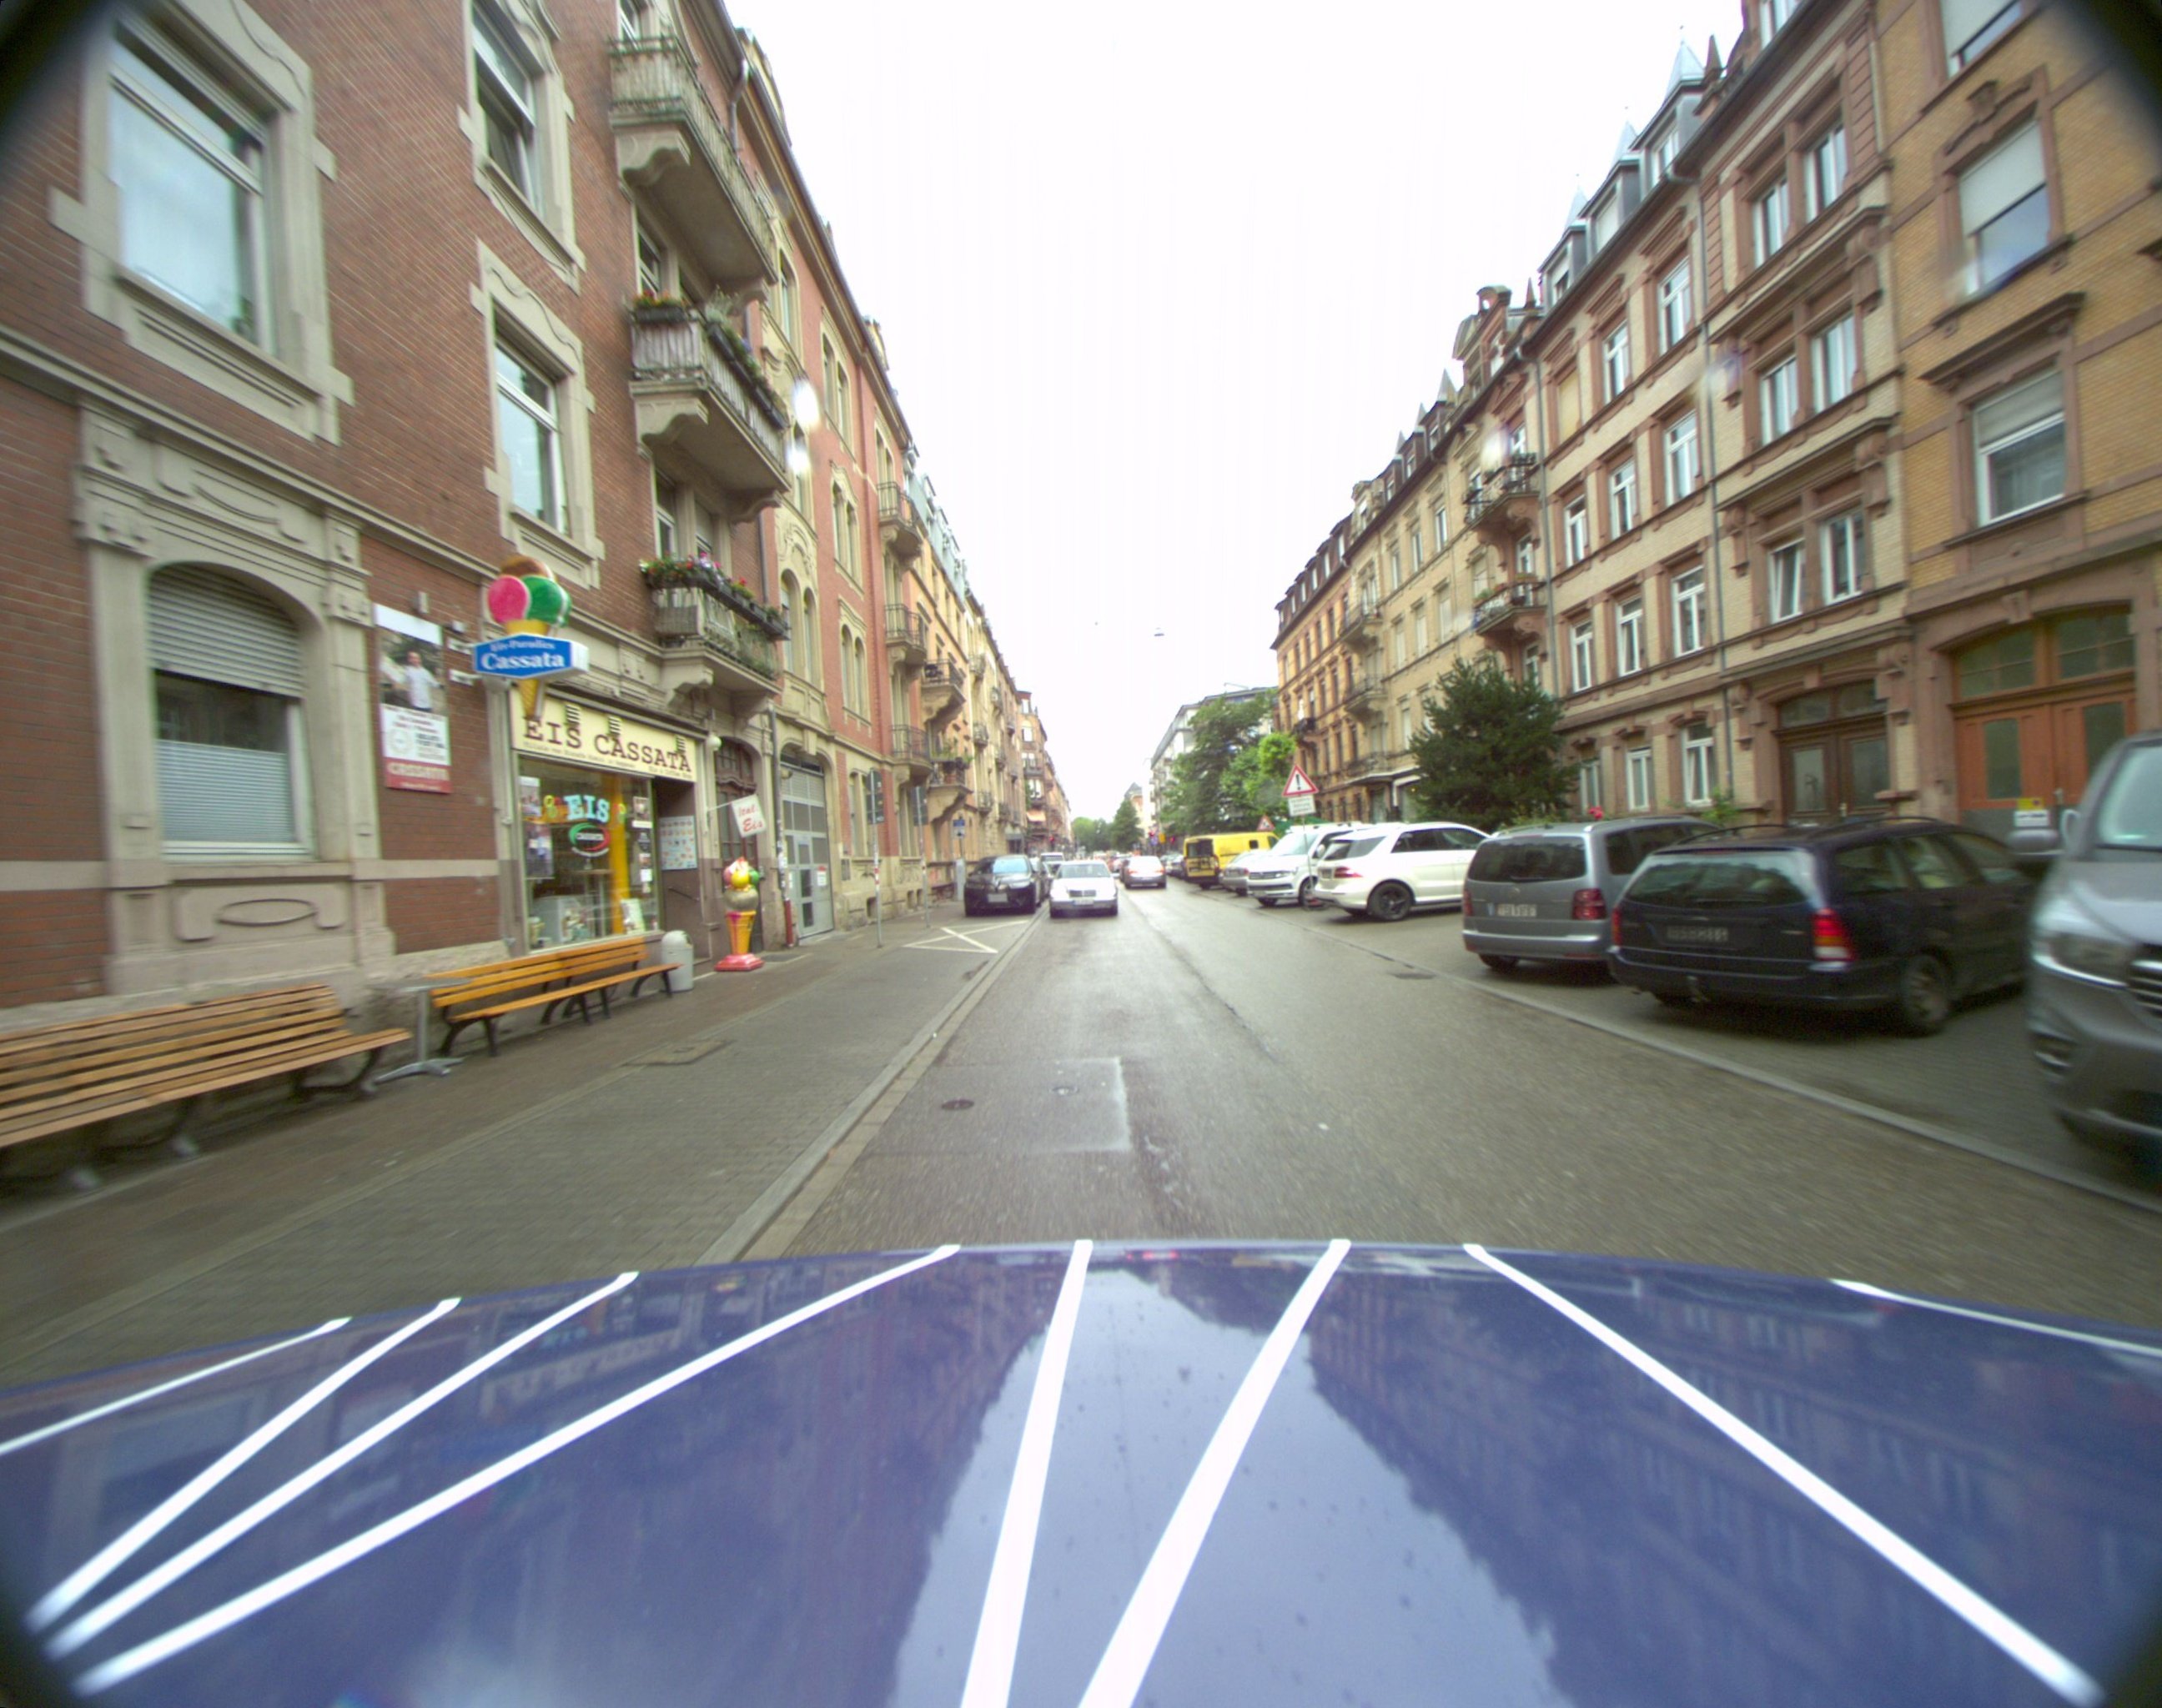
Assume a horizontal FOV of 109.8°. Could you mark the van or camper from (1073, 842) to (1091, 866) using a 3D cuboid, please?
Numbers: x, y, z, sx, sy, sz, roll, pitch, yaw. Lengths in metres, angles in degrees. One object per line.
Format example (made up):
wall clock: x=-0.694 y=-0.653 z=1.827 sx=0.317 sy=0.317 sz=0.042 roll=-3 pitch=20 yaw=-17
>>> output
van or camper: x=0.111 y=-0.010 z=114.930 sx=2.411 sy=3.308 sz=7.073 roll=-4 pitch=0 yaw=0

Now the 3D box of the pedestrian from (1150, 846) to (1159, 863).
pedestrian: x=8.492 y=0.064 z=87.902 sx=0.862 sy=1.837 sz=0.770 roll=-4 pitch=0 yaw=9

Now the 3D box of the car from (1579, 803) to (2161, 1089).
car: x=6.531 y=0.546 z=6.284 sx=4.360 sy=1.496 sz=1.752 roll=-5 pitch=0 yaw=-21

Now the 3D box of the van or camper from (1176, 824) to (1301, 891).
van or camper: x=6.599 y=0.130 z=31.729 sx=4.733 sy=2.254 sz=2.180 roll=-6 pitch=0 yaw=-31

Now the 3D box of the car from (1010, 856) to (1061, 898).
car: x=-1.923 y=0.962 z=33.368 sx=1.791 sy=1.458 sz=4.482 roll=-3 pitch=2 yaw=2

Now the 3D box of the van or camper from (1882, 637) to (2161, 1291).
van or camper: x=6.320 y=0.239 z=3.311 sx=5.031 sy=2.335 sz=2.340 roll=-4 pitch=0 yaw=-25

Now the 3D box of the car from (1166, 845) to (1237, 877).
car: x=7.420 y=0.408 z=46.644 sx=4.143 sy=1.485 sz=1.797 roll=-7 pitch=3 yaw=-34

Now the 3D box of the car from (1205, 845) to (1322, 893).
car: x=6.895 y=0.552 z=28.681 sx=3.924 sy=1.486 sz=1.959 roll=-4 pitch=1 yaw=-30

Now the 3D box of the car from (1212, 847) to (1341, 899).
car: x=6.660 y=0.608 z=25.785 sx=4.005 sy=1.427 sz=1.781 roll=-4 pitch=1 yaw=-28

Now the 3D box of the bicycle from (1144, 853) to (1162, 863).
bicycle: x=8.296 y=0.473 z=87.824 sx=1.895 sy=1.028 sz=0.661 roll=-6 pitch=0 yaw=-13

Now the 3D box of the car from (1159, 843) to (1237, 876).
car: x=7.610 y=0.347 z=49.272 sx=4.731 sy=1.554 sz=1.996 roll=-6 pitch=0 yaw=-33

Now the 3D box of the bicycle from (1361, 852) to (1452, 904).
bicycle: x=7.785 y=0.578 z=18.283 sx=0.545 sy=1.168 sz=2.040 roll=-4 pitch=0 yaw=-29

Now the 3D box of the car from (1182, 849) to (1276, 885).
car: x=6.827 y=0.590 z=34.960 sx=4.006 sy=1.486 sz=1.823 roll=-1 pitch=0 yaw=-31

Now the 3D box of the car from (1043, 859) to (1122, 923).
car: x=0.108 y=0.930 z=21.100 sx=1.859 sy=1.390 sz=4.980 roll=-3 pitch=0 yaw=2

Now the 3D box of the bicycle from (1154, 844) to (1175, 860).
bicycle: x=6.119 y=-0.153 z=55.777 sx=0.588 sy=1.137 sz=1.679 roll=-5 pitch=1 yaw=-27

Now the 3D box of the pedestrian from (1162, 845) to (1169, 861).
pedestrian: x=9.643 y=-0.119 z=86.659 sx=0.604 sy=1.837 sz=0.770 roll=-4 pitch=0 yaw=9

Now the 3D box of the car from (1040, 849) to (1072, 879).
car: x=-1.732 y=0.659 z=52.769 sx=1.999 sy=1.927 sz=5.229 roll=-2 pitch=0 yaw=-2

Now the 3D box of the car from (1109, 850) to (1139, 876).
car: x=3.001 y=0.601 z=53.979 sx=1.863 sy=1.650 sz=5.008 roll=-3 pitch=0 yaw=1

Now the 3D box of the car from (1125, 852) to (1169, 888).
car: x=3.063 y=0.740 z=36.136 sx=1.799 sy=1.485 sz=4.584 roll=-4 pitch=-1 yaw=3

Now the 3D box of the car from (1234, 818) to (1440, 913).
car: x=6.882 y=0.251 z=20.342 sx=5.258 sy=2.066 sz=1.867 roll=-4 pitch=1 yaw=-24

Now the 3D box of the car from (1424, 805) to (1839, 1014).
car: x=6.363 y=0.486 z=8.738 sx=4.449 sy=1.621 sz=1.841 roll=-6 pitch=0 yaw=-25

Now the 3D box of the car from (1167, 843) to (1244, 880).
car: x=7.173 y=0.413 z=43.626 sx=4.143 sy=1.652 sz=1.797 roll=-7 pitch=2 yaw=-35

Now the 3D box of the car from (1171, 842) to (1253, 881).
car: x=7.005 y=0.383 z=40.466 sx=4.143 sy=1.653 sz=1.797 roll=-7 pitch=3 yaw=-35

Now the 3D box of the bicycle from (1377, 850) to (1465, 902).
bicycle: x=8.208 y=0.547 z=18.443 sx=0.408 sy=1.168 sz=2.040 roll=-4 pitch=0 yaw=-29

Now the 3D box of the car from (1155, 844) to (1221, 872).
car: x=7.640 y=0.298 z=54.091 sx=4.464 sy=1.555 sz=1.995 roll=-6 pitch=3 yaw=-35

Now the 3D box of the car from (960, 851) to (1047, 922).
car: x=-2.156 y=0.844 z=22.478 sx=1.999 sy=1.769 sz=4.826 roll=-3 pitch=0 yaw=0

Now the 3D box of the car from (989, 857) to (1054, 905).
car: x=-2.103 y=0.940 z=28.142 sx=1.876 sy=1.552 sz=4.345 roll=-2 pitch=0 yaw=2

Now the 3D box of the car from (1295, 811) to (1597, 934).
car: x=6.925 y=0.330 z=14.955 sx=4.590 sy=1.775 sz=2.545 roll=-6 pitch=0 yaw=0
